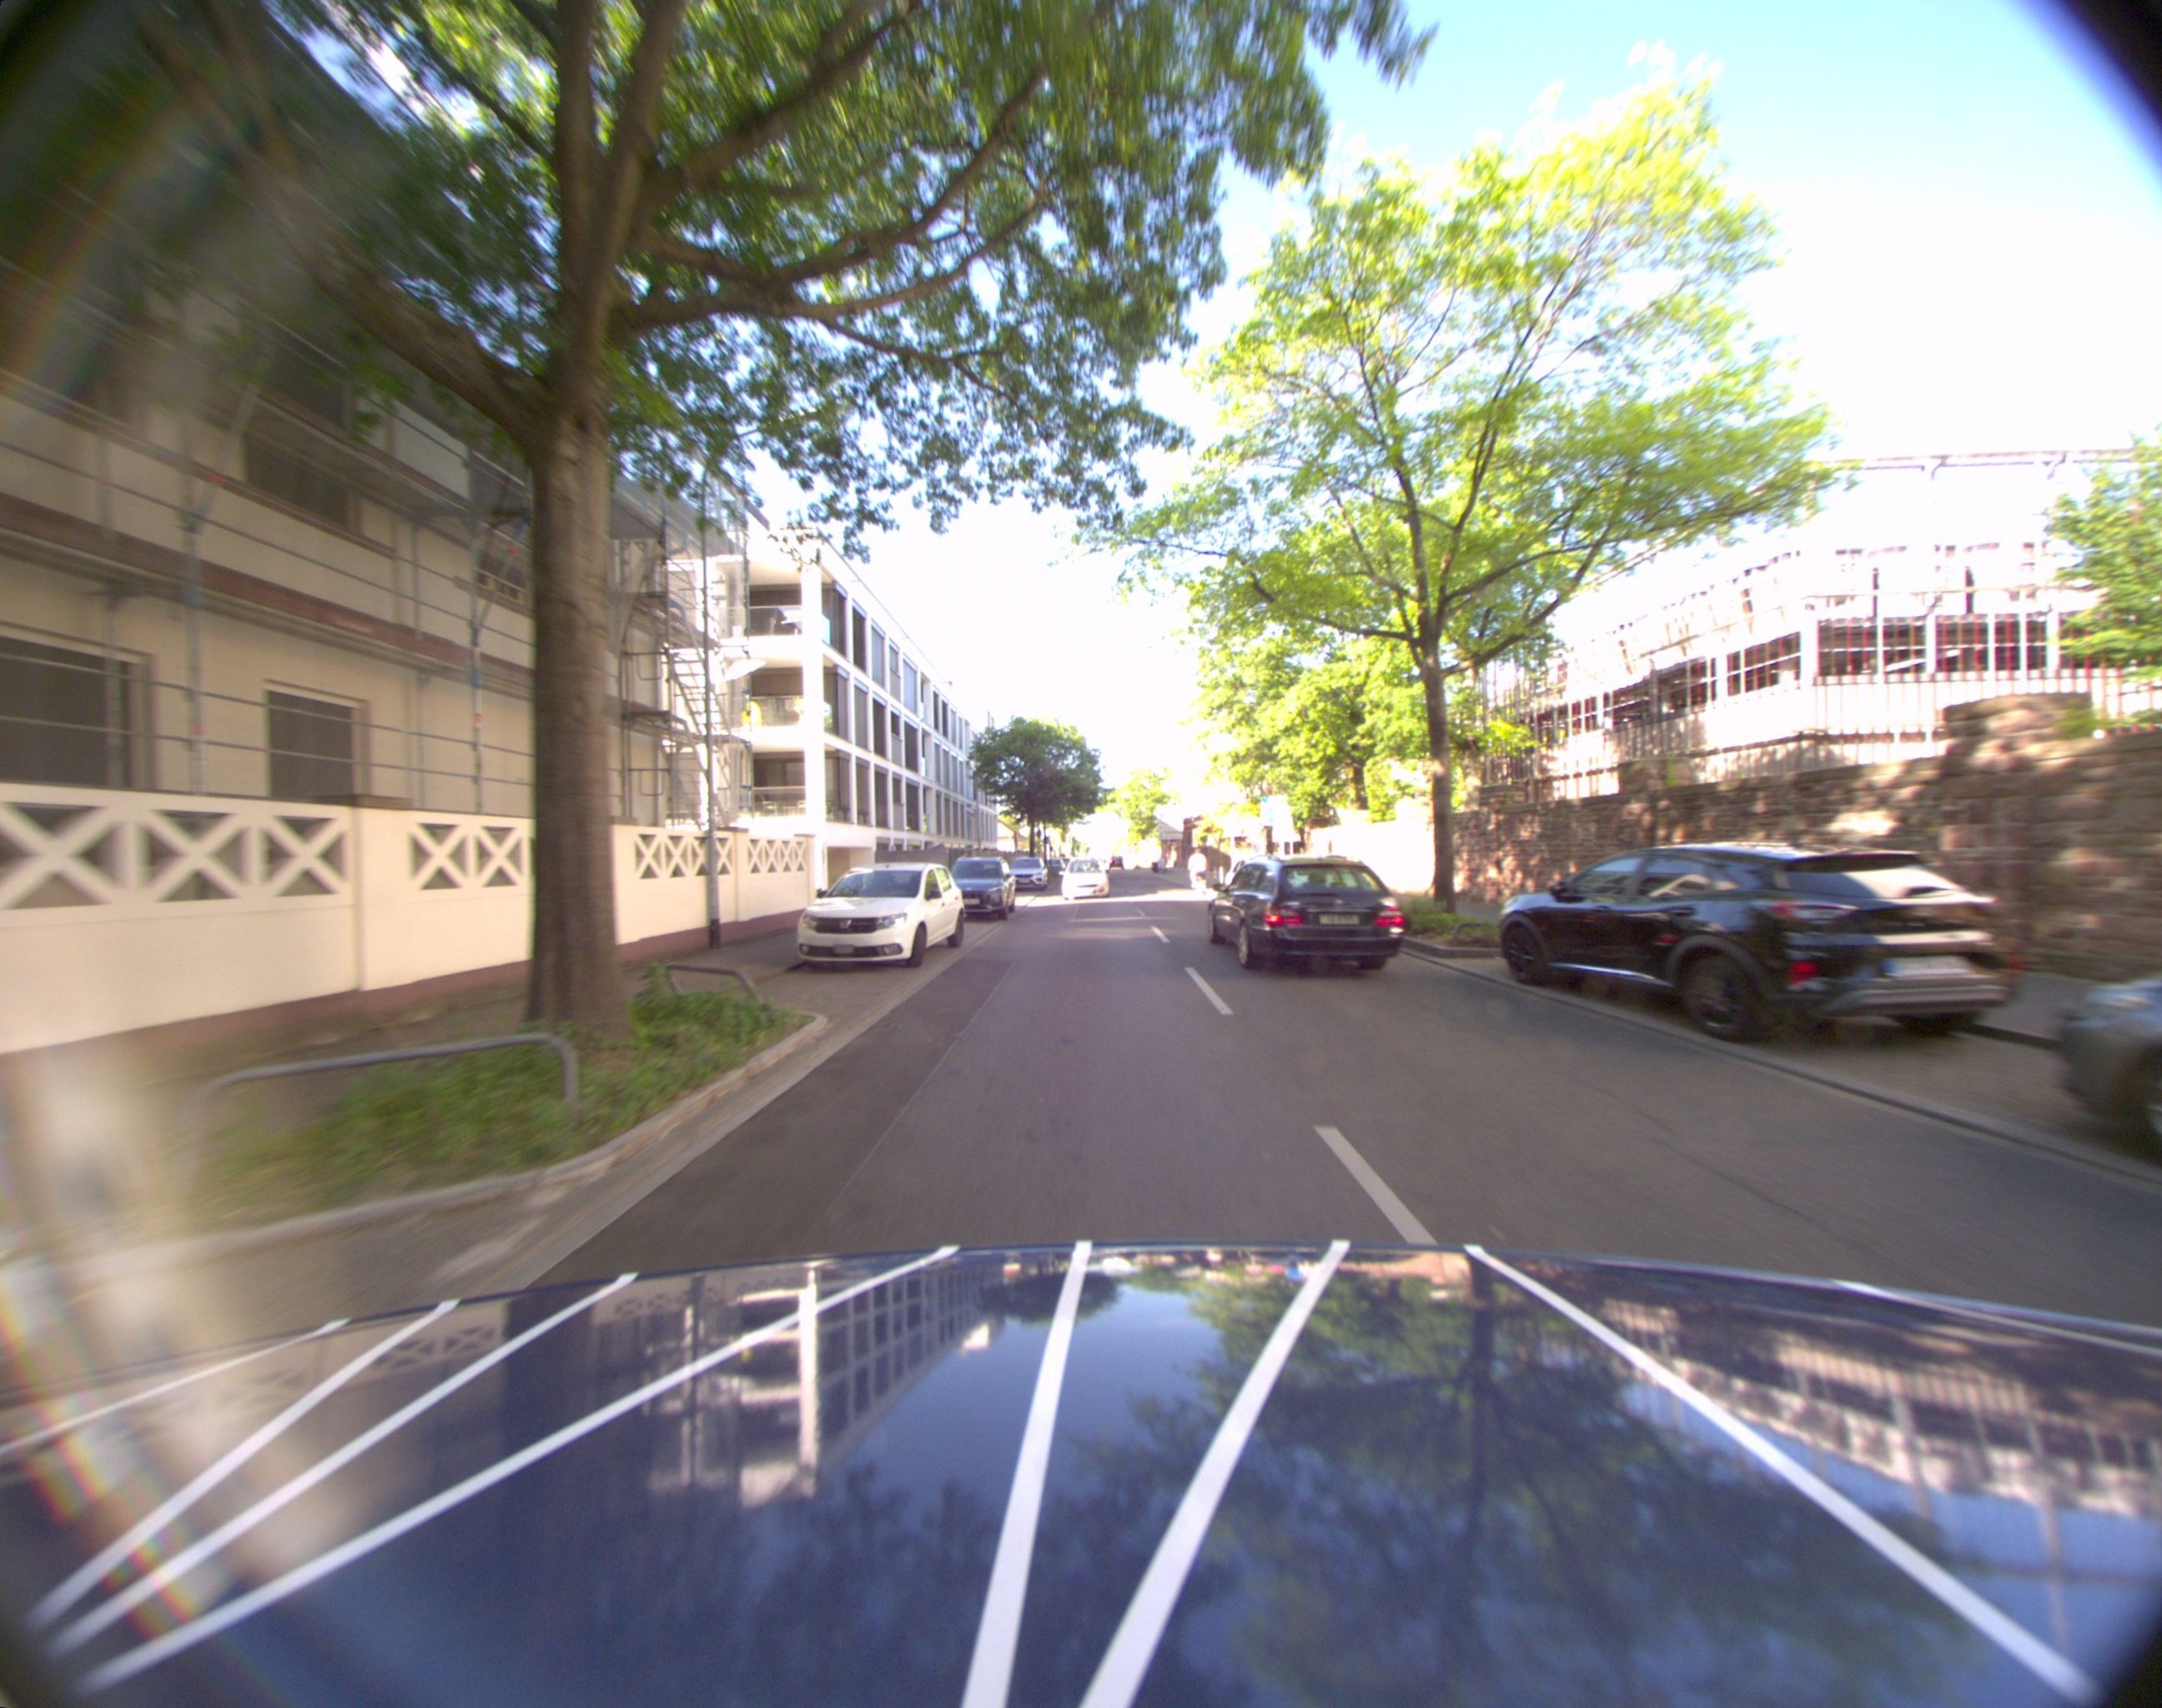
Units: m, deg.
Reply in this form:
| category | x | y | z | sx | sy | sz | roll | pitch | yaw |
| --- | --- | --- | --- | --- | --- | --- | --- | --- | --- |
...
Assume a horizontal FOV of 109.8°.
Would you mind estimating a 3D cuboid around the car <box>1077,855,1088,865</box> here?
| category | x | y | z | sx | sy | sz | roll | pitch | yaw |
| --- | --- | --- | --- | --- | --- | --- | --- | --- | --- |
| car | 0.224 | 1.032 | 125.745 | 1.757 | 1.459 | 3.486 | -3 | 0 | 0 |

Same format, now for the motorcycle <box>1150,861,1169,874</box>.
| category | x | y | z | sx | sy | sz | roll | pitch | yaw |
| --- | --- | --- | --- | --- | --- | --- | --- | --- | --- |
| motorcycle | 6.736 | 1.128 | 65.080 | 0.599 | 1.026 | 2.132 | -1 | 0 | 35 |

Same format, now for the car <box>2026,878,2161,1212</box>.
| category | x | y | z | sx | sy | sz | roll | pitch | yaw |
| --- | --- | --- | --- | --- | --- | --- | --- | --- | --- |
| car | 5.615 | 0.819 | 1.866 | 1.691 | 1.413 | 3.837 | -3 | 0 | -3 |

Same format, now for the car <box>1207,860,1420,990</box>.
| category | x | y | z | sx | sy | sz | roll | pitch | yaw |
| --- | --- | --- | --- | --- | --- | --- | --- | --- | --- |
| car | 2.988 | 0.831 | 10.676 | 1.826 | 1.427 | 3.969 | 1 | 0 | 1 |

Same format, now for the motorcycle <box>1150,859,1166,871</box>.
| category | x | y | z | sx | sy | sz | roll | pitch | yaw |
| --- | --- | --- | --- | --- | --- | --- | --- | --- | --- |
| motorcycle | 6.857 | 0.957 | 67.578 | 0.530 | 1.033 | 2.095 | -3 | 0 | 32 |

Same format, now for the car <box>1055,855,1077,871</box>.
| category | x | y | z | sx | sy | sz | roll | pitch | yaw |
| --- | --- | --- | --- | --- | --- | --- | --- | --- | --- |
| car | -1.318 | 0.779 | 68.531 | 1.724 | 1.402 | 4.763 | -2 | 0 | 2 |

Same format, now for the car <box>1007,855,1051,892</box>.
| category | x | y | z | sx | sy | sz | roll | pitch | yaw |
| --- | --- | --- | --- | --- | --- | --- | --- | --- | --- |
| car | -2.440 | 0.894 | 36.639 | 1.797 | 1.606 | 4.126 | -2 | 0 | 0 |

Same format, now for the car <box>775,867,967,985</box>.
| category | x | y | z | sx | sy | sz | roll | pitch | yaw |
| --- | --- | --- | --- | --- | --- | --- | --- | --- | --- |
| car | -3.108 | 0.991 | 12.141 | 1.727 | 1.501 | 3.993 | 0 | 0 | 4 |

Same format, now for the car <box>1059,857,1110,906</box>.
| category | x | y | z | sx | sy | sz | roll | pitch | yaw |
| --- | --- | --- | --- | --- | --- | --- | --- | --- | --- |
| car | 0.198 | 0.995 | 29.274 | 1.747 | 1.613 | 4.106 | -3 | 0 | 2 |

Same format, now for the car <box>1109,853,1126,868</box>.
| category | x | y | z | sx | sy | sz | roll | pitch | yaw |
| --- | --- | --- | --- | --- | --- | --- | --- | --- | --- |
| car | 4.208 | 0.725 | 87.619 | 1.648 | 1.602 | 4.020 | 0 | 0 | -1 |

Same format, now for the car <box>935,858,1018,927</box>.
| category | x | y | z | sx | sy | sz | roll | pitch | yaw |
| --- | --- | --- | --- | --- | --- | --- | --- | --- | --- |
| car | -2.744 | 0.953 | 20.876 | 1.716 | 1.629 | 4.302 | -1 | 0 | -1 |

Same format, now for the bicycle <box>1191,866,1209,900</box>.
| category | x | y | z | sx | sy | sz | roll | pitch | yaw |
| --- | --- | --- | --- | --- | --- | --- | --- | --- | --- |
| bicycle | 4.272 | 1.031 | 27.376 | 0.358 | 1.114 | 1.866 | -3 | 0 | 2 |

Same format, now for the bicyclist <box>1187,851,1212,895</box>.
| category | x | y | z | sx | sy | sz | roll | pitch | yaw |
| --- | --- | --- | --- | --- | --- | --- | --- | --- | --- |
| bicyclist | 4.273 | 0.672 | 27.450 | 0.722 | 1.513 | 1.005 | -3 | 1 | 4 |

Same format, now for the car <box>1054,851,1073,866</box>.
| category | x | y | z | sx | sy | sz | roll | pitch | yaw |
| --- | --- | --- | --- | --- | --- | --- | --- | --- | --- |
| car | -1.995 | 0.499 | 87.167 | 1.887 | 1.592 | 4.299 | -2 | 0 | 2 |

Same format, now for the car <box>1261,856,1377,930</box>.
| category | x | y | z | sx | sy | sz | roll | pitch | yaw |
| --- | --- | --- | --- | --- | --- | --- | --- | --- | --- |
| car | 5.762 | 0.873 | 18.867 | 1.680 | 1.502 | 3.849 | -4 | 0 | 2 |

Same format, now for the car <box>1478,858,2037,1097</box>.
| category | x | y | z | sx | sy | sz | roll | pitch | yaw |
| --- | --- | --- | --- | --- | --- | --- | --- | --- | --- |
| car | 5.543 | 0.830 | 7.055 | 1.577 | 1.506 | 4.044 | -2 | 0 | 0 |

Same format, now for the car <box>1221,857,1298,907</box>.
| category | x | y | z | sx | sy | sz | roll | pitch | yaw |
| --- | --- | --- | --- | --- | --- | --- | --- | --- | --- |
| car | 5.793 | 0.858 | 25.065 | 1.578 | 1.394 | 3.750 | -5 | 0 | 0 |

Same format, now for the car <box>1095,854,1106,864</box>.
| category | x | y | z | sx | sy | sz | roll | pitch | yaw |
| --- | --- | --- | --- | --- | --- | --- | --- | --- | --- |
| car | 3.620 | 0.905 | 139.327 | 1.834 | 1.732 | 4.000 | -3 | 0 | 1 |
